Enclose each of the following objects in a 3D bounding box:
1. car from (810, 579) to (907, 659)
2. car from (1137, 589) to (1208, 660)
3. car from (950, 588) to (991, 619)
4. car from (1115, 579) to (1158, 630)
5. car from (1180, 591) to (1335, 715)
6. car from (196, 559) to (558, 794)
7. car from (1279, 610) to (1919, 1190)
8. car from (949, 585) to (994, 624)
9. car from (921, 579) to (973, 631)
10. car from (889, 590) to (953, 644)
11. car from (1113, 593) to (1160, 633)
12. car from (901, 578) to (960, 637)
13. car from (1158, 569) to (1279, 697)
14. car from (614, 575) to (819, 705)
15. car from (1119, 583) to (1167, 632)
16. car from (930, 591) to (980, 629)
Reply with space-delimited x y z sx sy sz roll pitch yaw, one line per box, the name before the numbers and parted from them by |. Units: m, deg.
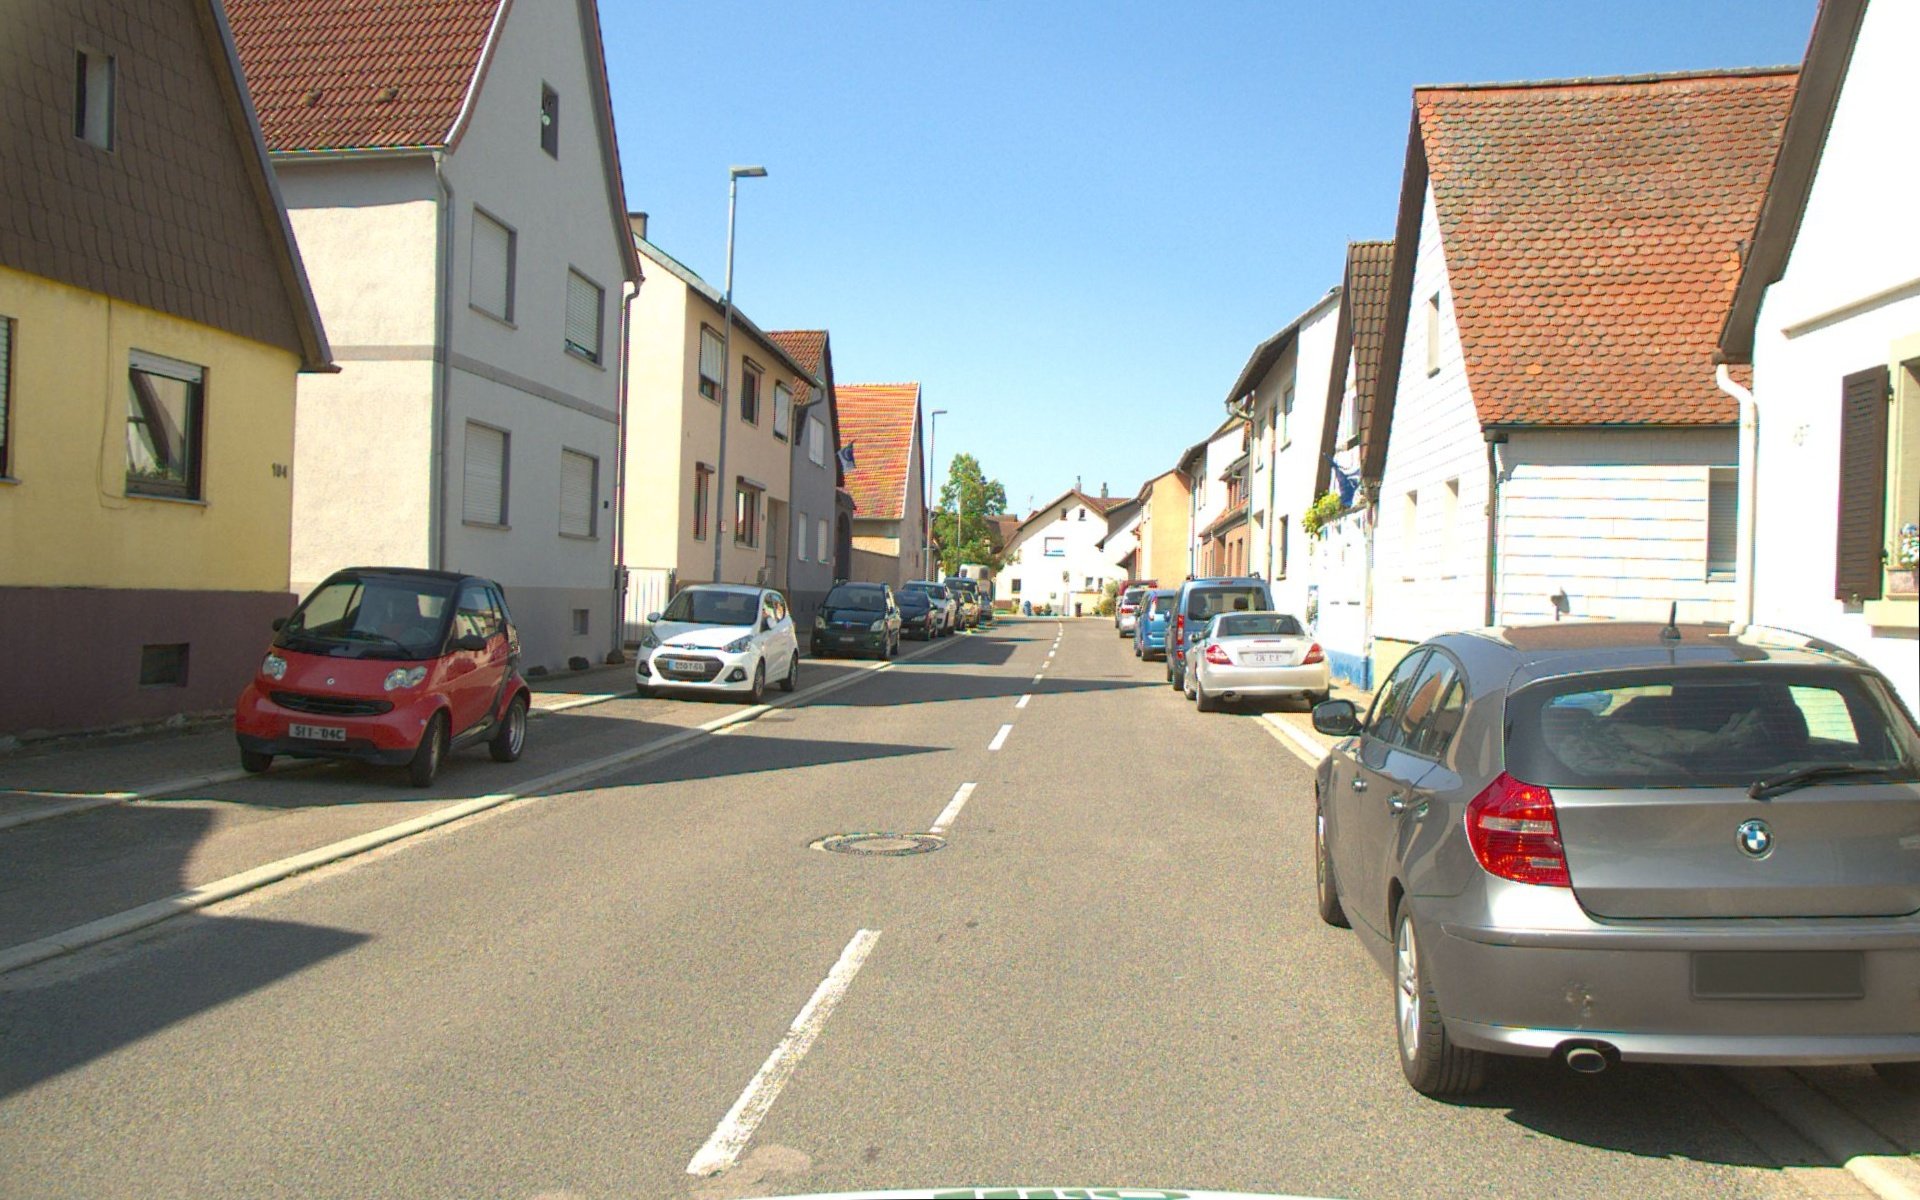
car | -2.186 0.399 36.609 1.585 1.605 3.963 3 0 4
car | 4.941 0.554 38.771 1.390 1.541 3.305 3 0 4
car | 0.549 0.204 82.838 1.717 1.467 4.002 1 0 5
car | 7.380 0.191 69.449 1.729 2.039 3.452 1 0 5
car | 4.007 0.679 22.744 1.669 1.523 3.454 -2 0 4
car | -4.450 0.538 13.071 1.520 1.571 2.989 3 0 5
car | 2.284 0.779 6.169 1.669 1.458 3.891 0 0 4
car | 0.539 0.217 73.512 1.717 1.653 4.002 1 0 4
car | -0.433 0.173 58.777 1.495 1.743 3.627 3 0 4
car | -1.104 0.503 48.241 1.472 1.478 3.510 1 0 5
car | 6.813 0.517 63.973 1.729 1.458 3.452 1 0 5
car | -0.903 0.244 52.751 1.495 1.743 3.627 3 0 4
car | 4.275 0.517 27.803 1.615 1.943 3.627 3 0 4
car | -3.286 0.513 23.179 1.768 1.574 4.406 3 0 5
car | 6.207 0.242 56.303 1.390 1.541 3.305 3 0 4
car | -0.157 0.402 65.975 1.717 1.467 4.001 1 0 3
